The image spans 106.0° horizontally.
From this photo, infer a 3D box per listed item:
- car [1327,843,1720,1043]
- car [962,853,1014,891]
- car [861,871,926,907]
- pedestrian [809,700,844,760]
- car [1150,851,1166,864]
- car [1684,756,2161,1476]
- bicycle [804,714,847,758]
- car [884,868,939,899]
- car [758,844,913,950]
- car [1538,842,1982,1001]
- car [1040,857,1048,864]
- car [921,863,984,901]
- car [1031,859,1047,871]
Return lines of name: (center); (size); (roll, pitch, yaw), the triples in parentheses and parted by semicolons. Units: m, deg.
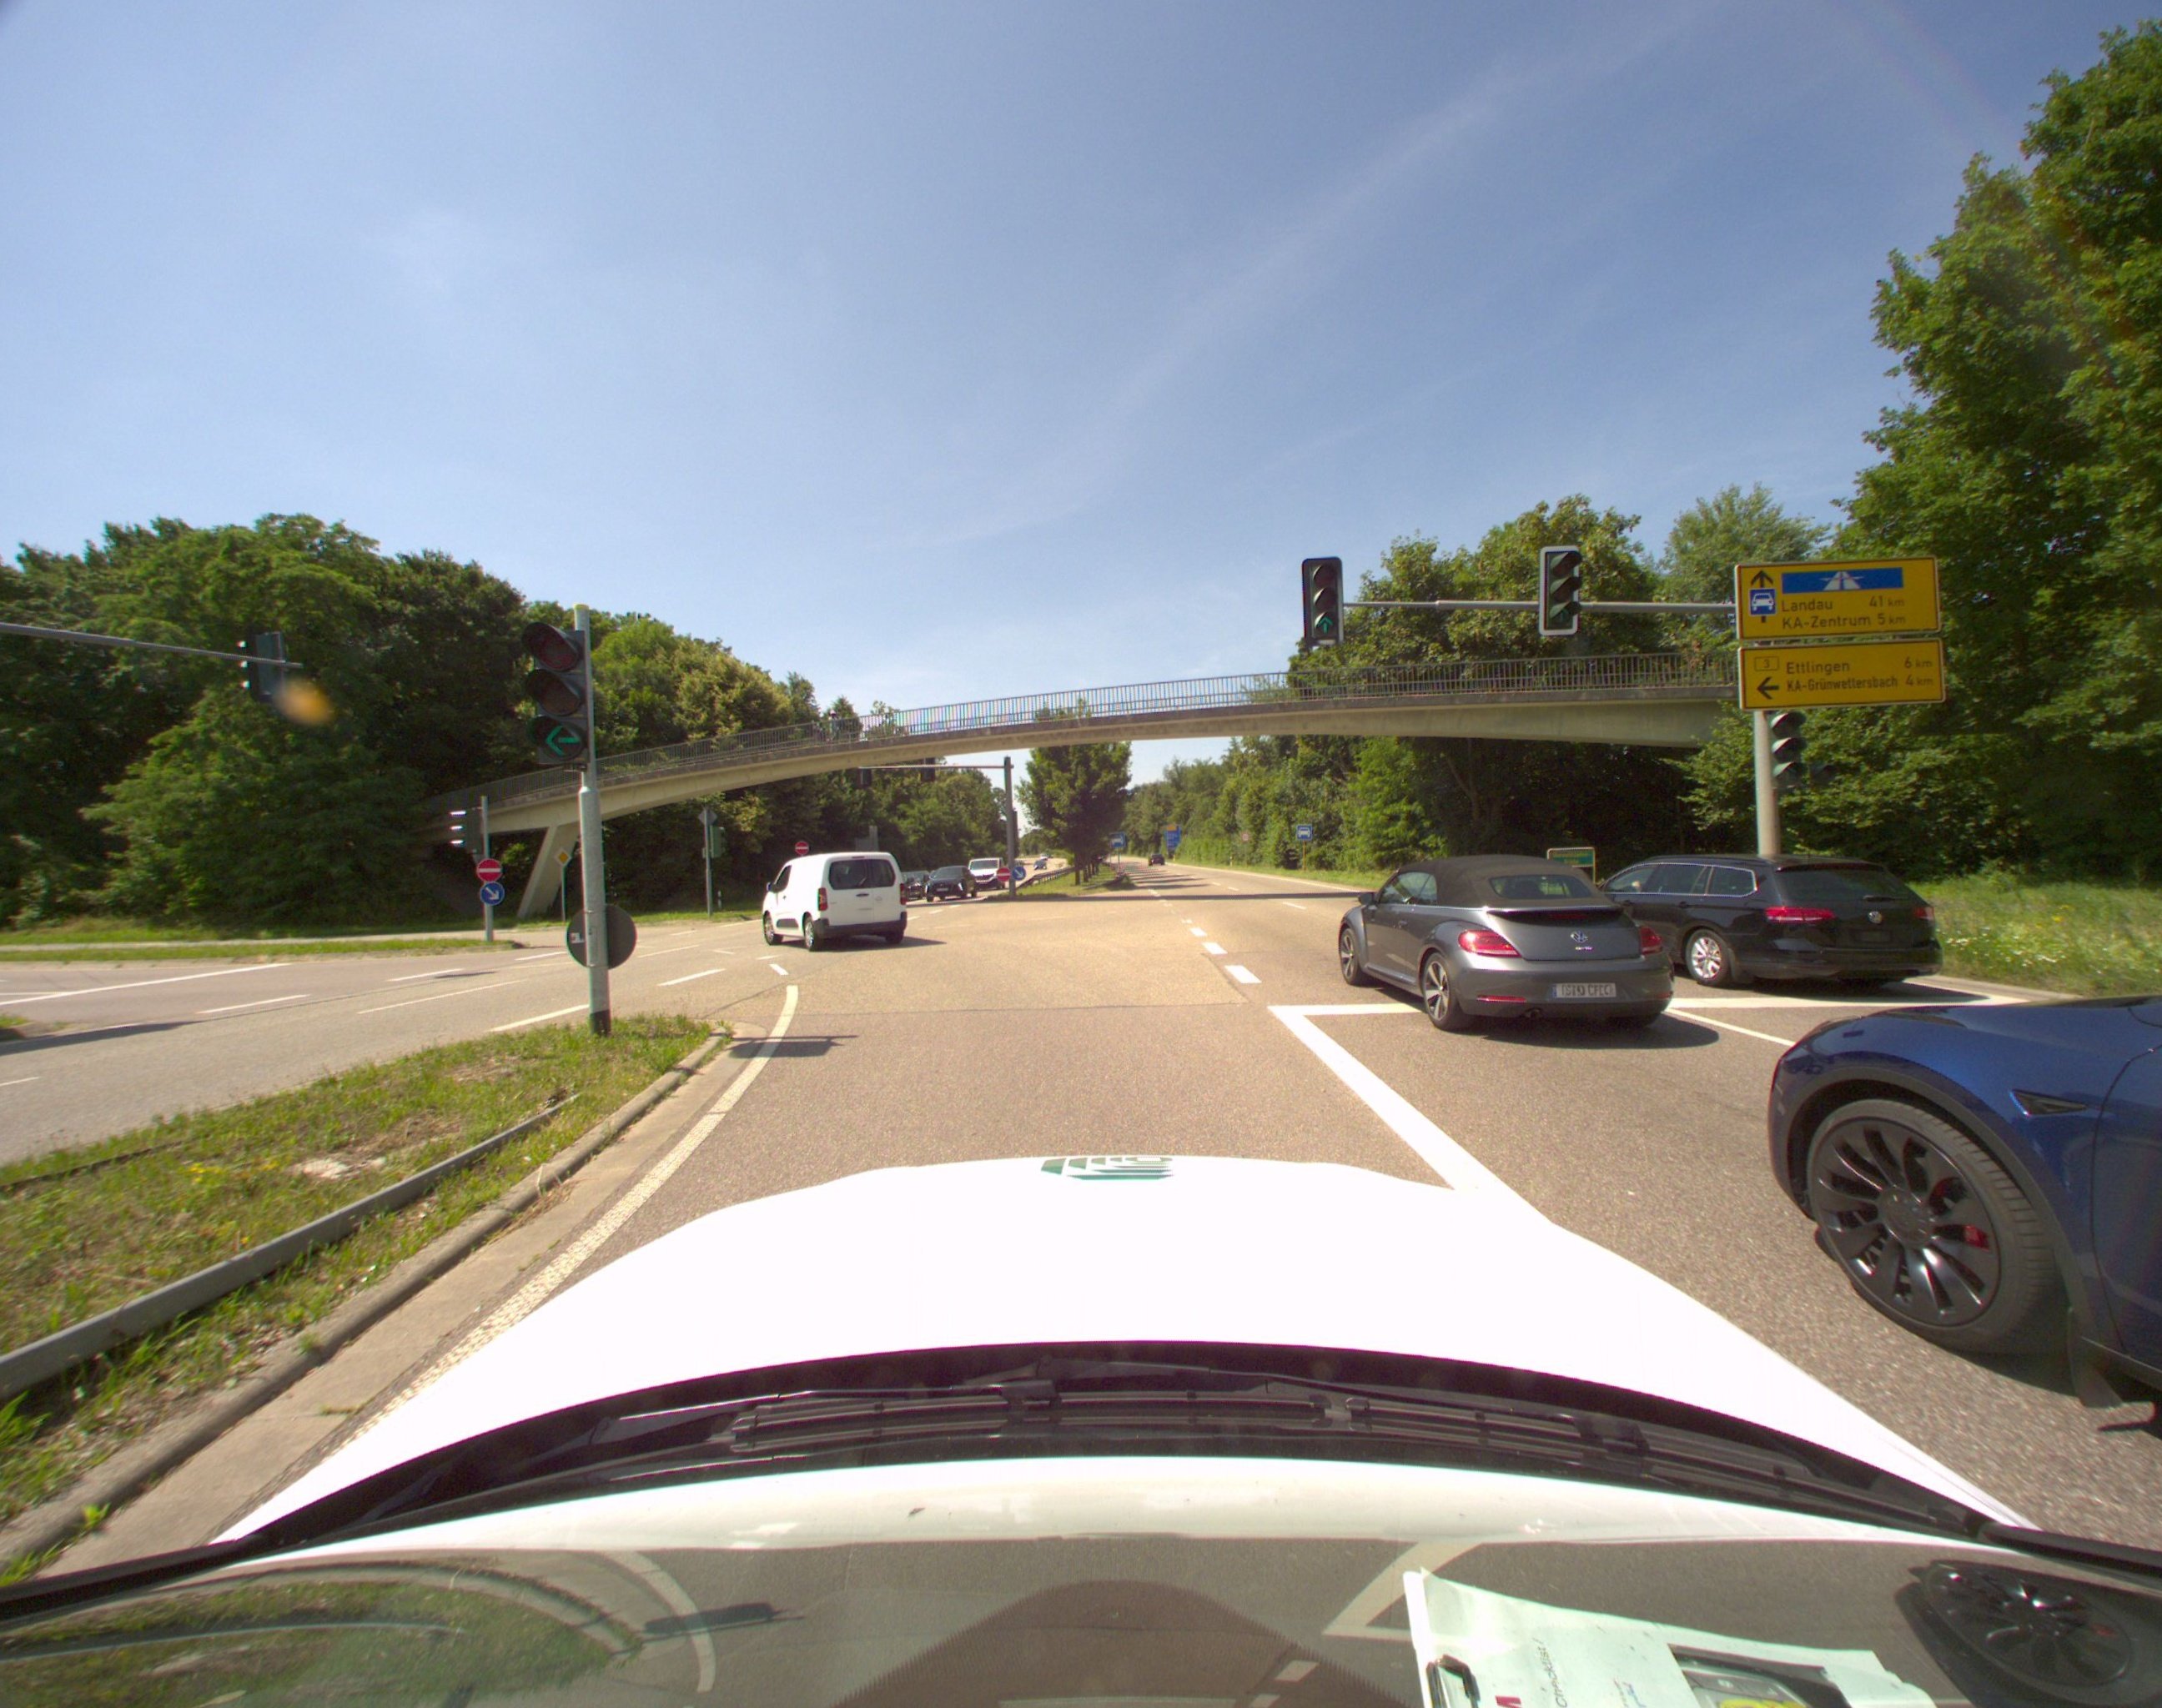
car: (3.917, 0.675, 8.094); (1.893, 1.478, 3.941); (-1, 0, 3)
car: (-5.555, 1.047, 49.504); (2.199, 1.993, 5.492); (-4, -1, 3)
car: (-9.199, 1.688, 40.288); (2.000, 1.460, 4.058); (-4, -1, 2)
pedestrian: (-10.032, -4.885, 32.126); (0.776, 2.140, 0.936); (-5, -2, 18)
car: (10.613, 0.496, 112.388); (2.032, 1.699, 5.094); (-2, 0, 5)
car: (3.379, 0.583, 1.080); (1.893, 1.644, 4.522); (-1, 0, 2)
bicycle: (-9.990, -4.613, 31.855); (1.514, 1.474, 0.472); (-5, -2, 18)
car: (-9.519, 1.624, 46.075); (2.000, 1.460, 4.058); (-4, -1, 2)
car: (-5.058, 0.861, 16.445); (1.863, 1.826, 3.938); (-1, -3, -34)
car: (7.661, 0.649, 9.918); (1.892, 1.478, 4.383); (-1, 0, 3)
car: (-9.702, 1.802, 212.378); (1.989, 1.750, 3.994); (-1, -1, -4)
car: (-5.817, 1.235, 37.321); (1.986, 1.523, 4.030); (-4, -1, 2)
car: (-6.372, 1.618, 123.679); (2.000, 1.601, 4.058); (-4, -1, 2)
